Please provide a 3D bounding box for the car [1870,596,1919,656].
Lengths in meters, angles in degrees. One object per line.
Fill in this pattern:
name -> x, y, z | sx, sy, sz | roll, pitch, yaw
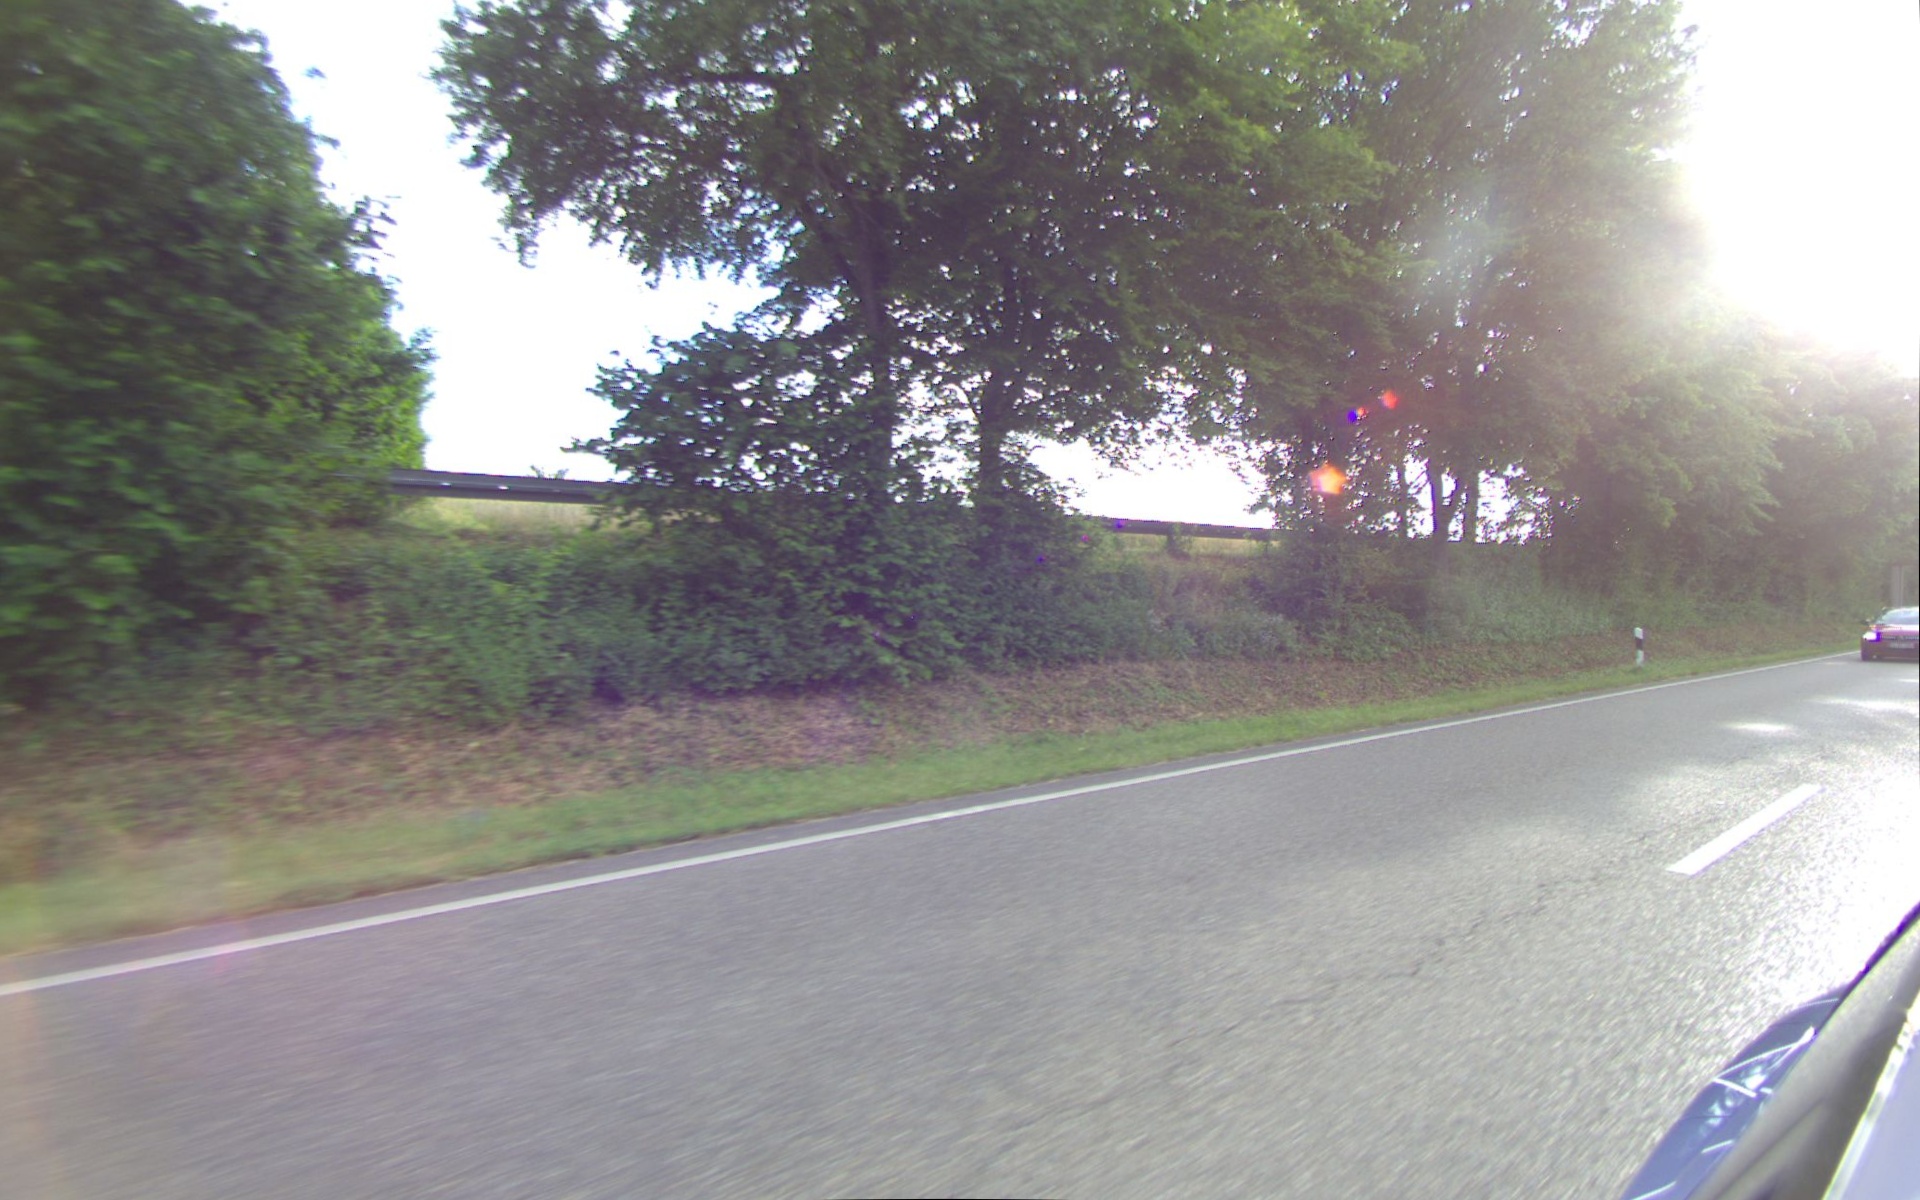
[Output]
car -> 25.657, 0.689, 26.817 | 3.660, 1.494, 1.723 | 1, 0, -39
